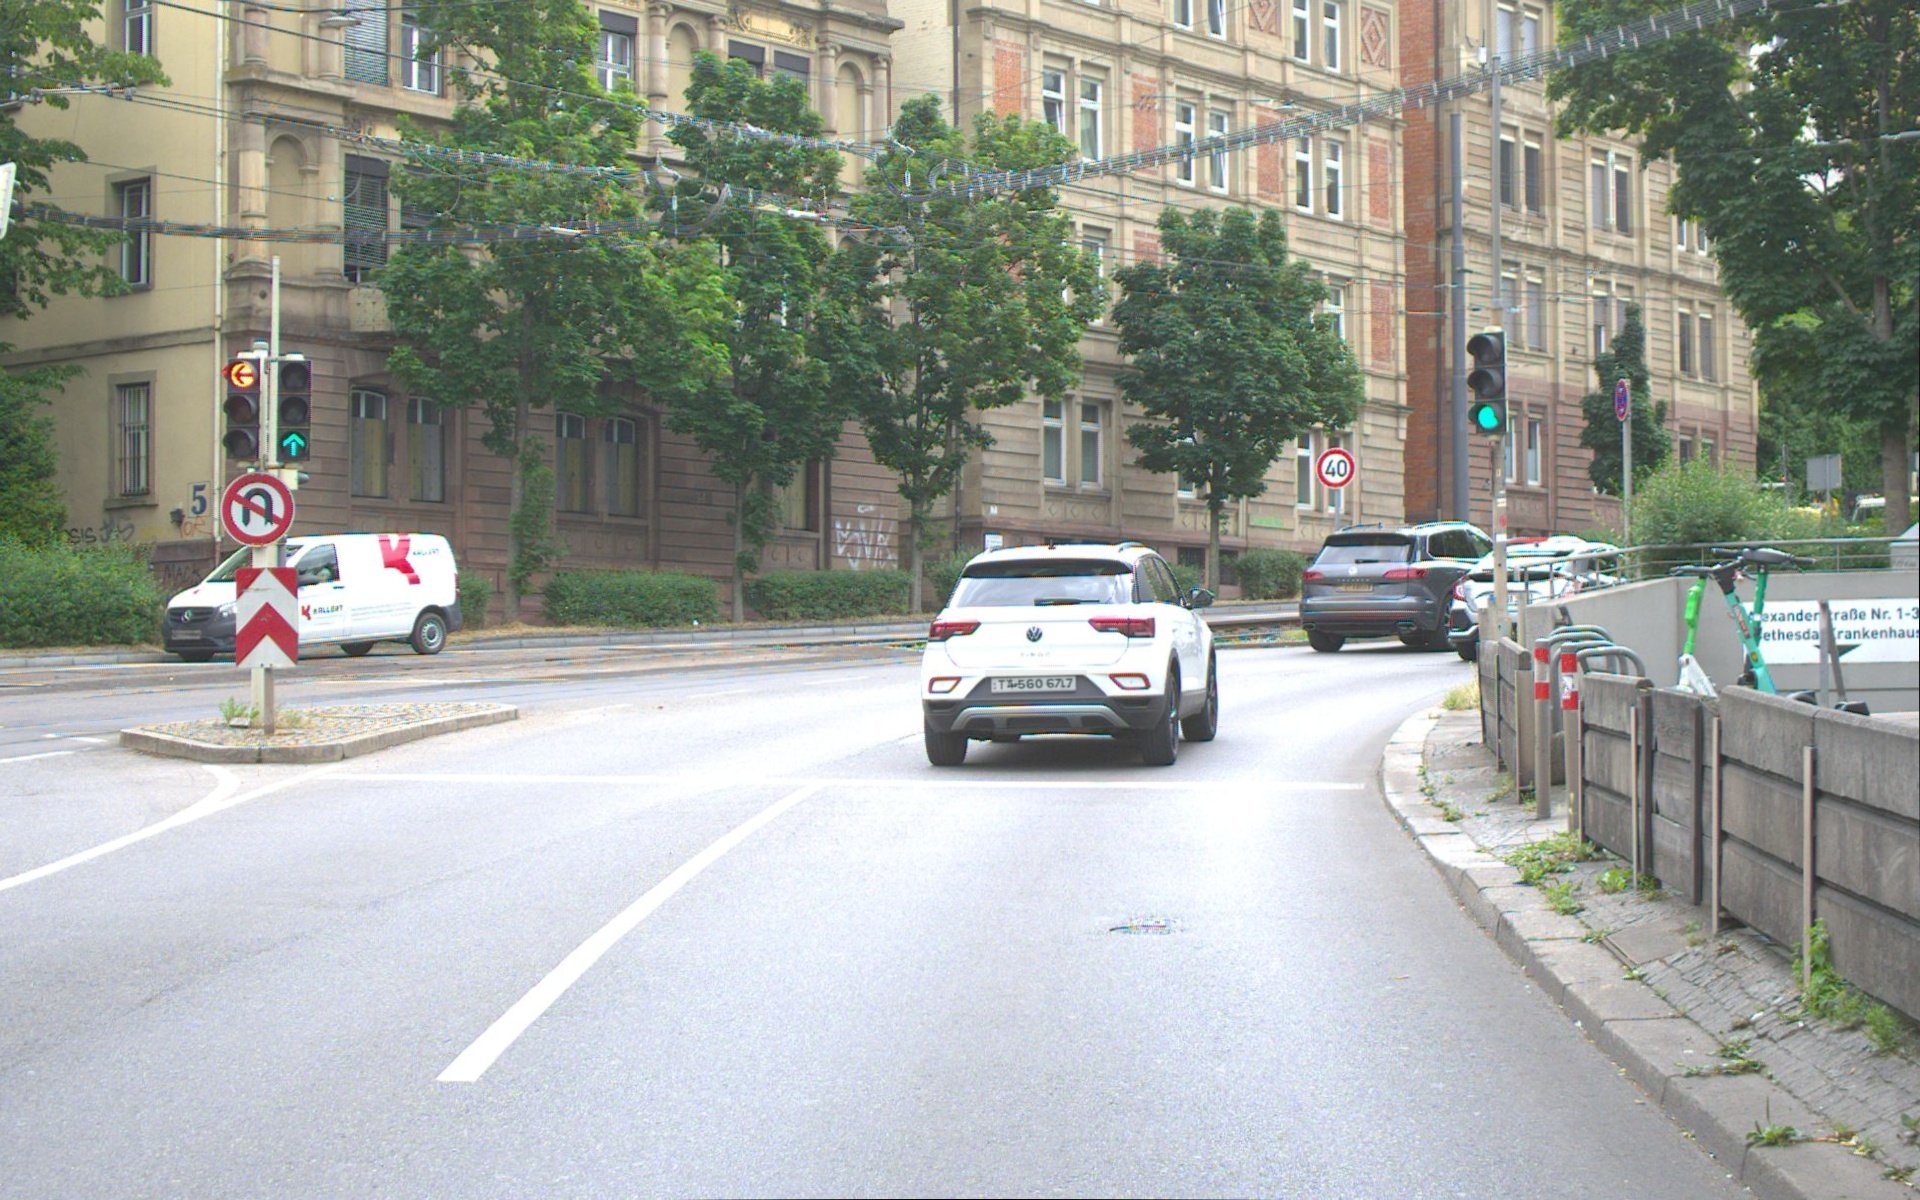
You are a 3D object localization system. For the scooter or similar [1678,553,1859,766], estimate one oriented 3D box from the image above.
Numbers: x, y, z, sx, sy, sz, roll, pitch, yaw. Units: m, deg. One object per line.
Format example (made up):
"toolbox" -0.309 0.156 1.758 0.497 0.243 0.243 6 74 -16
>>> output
"scooter or similar" 4.595 0.328 19.527 1.007 1.178 0.376 -1 1 -29

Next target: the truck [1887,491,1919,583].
"truck" 30.781 -1.594 102.658 2.926 2.500 7.137 16 9 38

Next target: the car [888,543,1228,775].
"car" 0.814 0.386 25.418 1.939 1.561 4.044 0 0 10

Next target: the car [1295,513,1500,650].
"car" 5.881 -0.273 45.868 1.841 1.734 3.996 0 1 21

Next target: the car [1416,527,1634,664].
"car" 6.980 -0.043 42.164 1.905 1.568 3.830 1 0 21

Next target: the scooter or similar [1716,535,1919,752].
"scooter or similar" 5.375 0.249 20.992 1.441 1.250 0.557 -3 1 -29

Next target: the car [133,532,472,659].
"car" -10.040 -0.068 52.822 1.998 1.843 4.982 -1 -1 39

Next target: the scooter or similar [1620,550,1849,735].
"scooter or similar" 5.102 0.266 22.638 1.441 1.178 0.583 -1 1 -29

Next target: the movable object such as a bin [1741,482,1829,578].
"movable object such as a bin" 25.369 -2.144 105.687 1.997 2.828 2.026 -2 0 33
